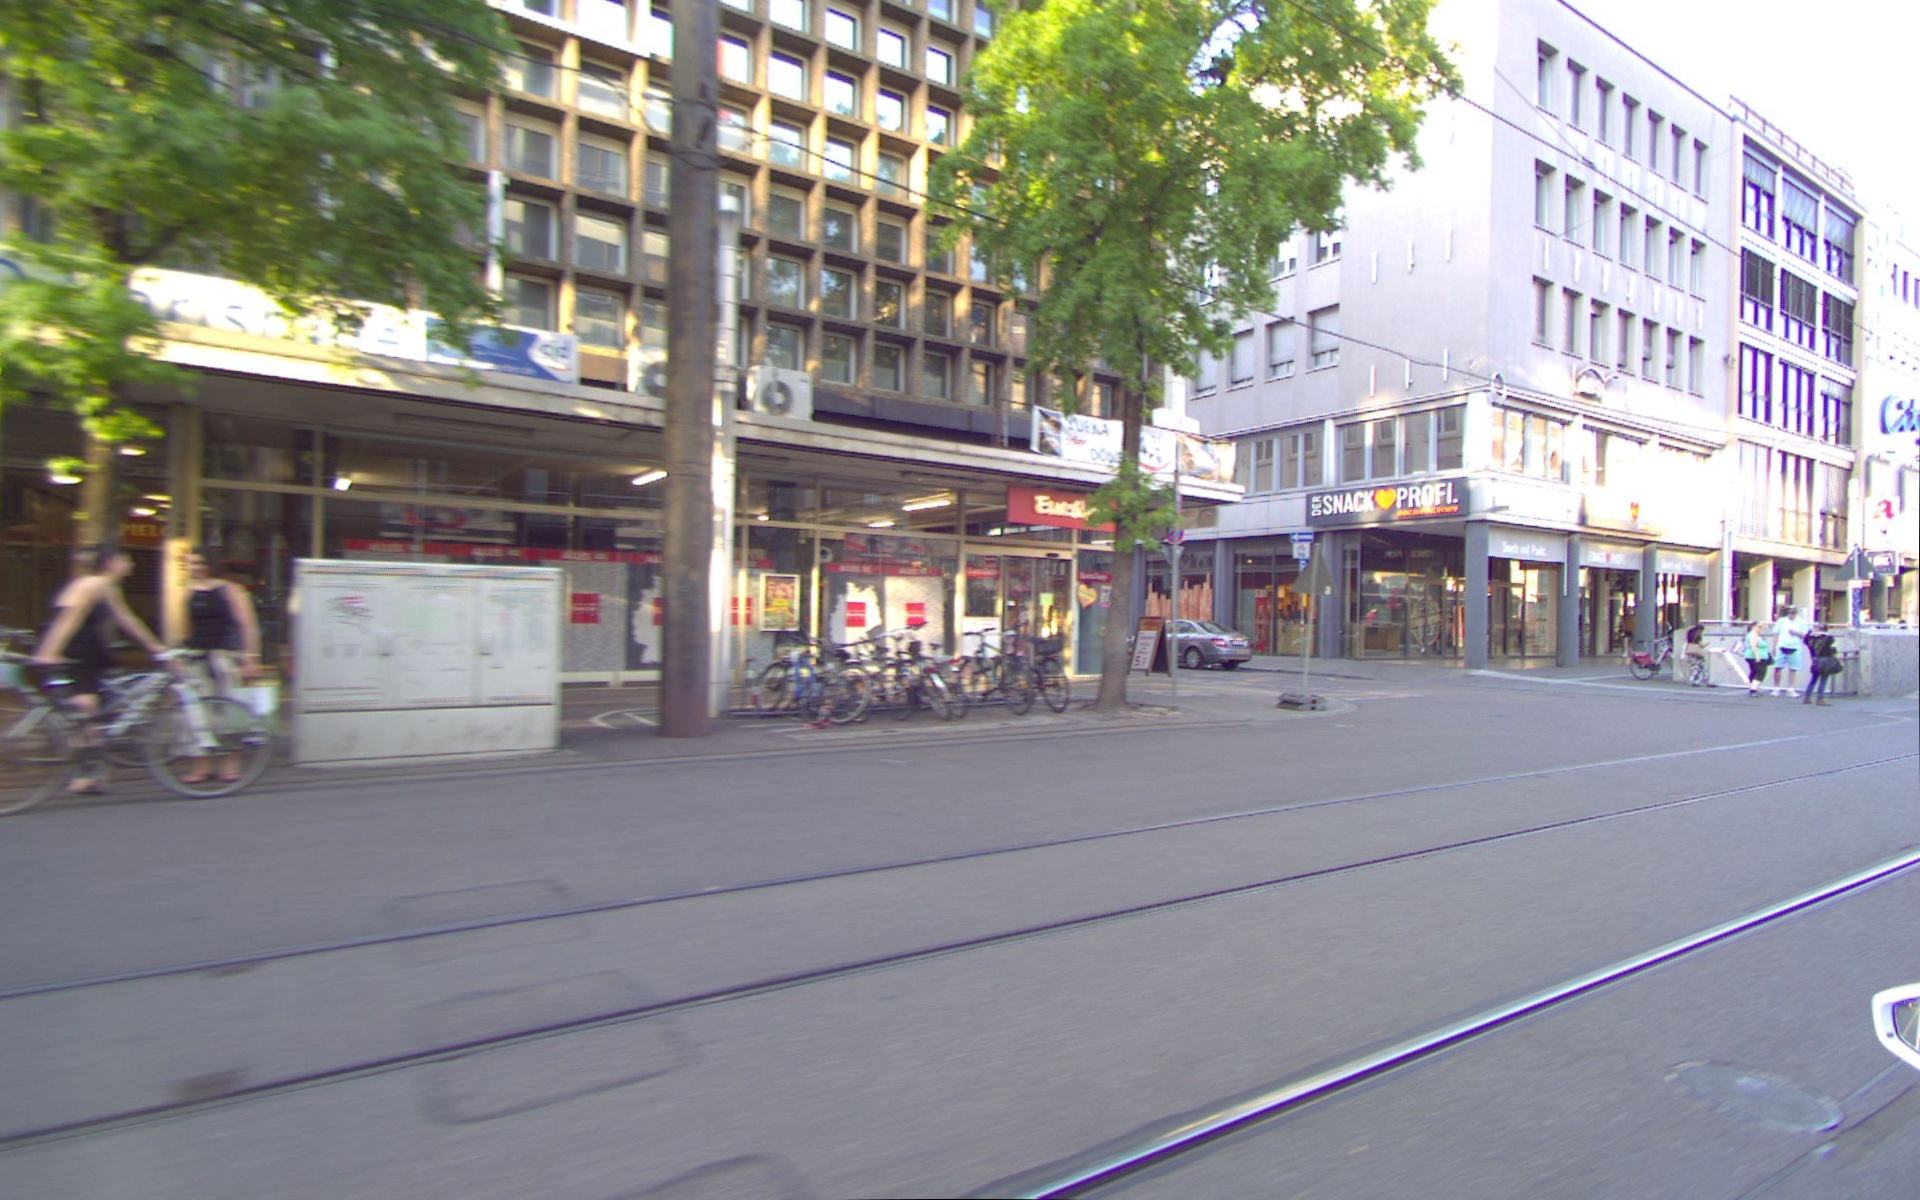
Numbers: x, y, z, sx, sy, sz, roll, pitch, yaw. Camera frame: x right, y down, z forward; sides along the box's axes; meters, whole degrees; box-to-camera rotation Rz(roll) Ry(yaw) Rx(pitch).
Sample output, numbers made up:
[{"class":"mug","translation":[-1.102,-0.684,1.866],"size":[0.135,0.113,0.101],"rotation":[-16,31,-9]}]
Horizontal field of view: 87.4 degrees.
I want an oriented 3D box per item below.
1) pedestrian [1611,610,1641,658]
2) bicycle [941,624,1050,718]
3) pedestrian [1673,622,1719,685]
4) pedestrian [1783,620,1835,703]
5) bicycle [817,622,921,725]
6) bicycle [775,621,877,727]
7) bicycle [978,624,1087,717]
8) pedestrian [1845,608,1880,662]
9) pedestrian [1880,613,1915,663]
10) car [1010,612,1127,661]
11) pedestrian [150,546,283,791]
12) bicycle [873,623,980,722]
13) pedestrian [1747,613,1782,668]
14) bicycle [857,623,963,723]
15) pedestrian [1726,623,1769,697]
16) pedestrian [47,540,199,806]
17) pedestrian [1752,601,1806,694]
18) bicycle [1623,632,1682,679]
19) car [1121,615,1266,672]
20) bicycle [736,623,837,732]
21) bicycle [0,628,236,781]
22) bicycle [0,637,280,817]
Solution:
[{"class":"pedestrian","translation":[24.961,1.277,37.629],"size":[0.702,1.748,0.709],"rotation":[2,-1,-34]},{"class":"bicycle","translation":[0.426,0.881,13.015],"size":[0.484,1.059,1.762],"rotation":[0,1,-32]},{"class":"pedestrian","translation":[17.440,1.263,23.797],"size":[0.671,1.453,0.556],"rotation":[1,-1,5]},{"class":"pedestrian","translation":[16.397,1.178,19.399],"size":[0.600,1.562,0.678],"rotation":[2,-1,-40]},{"class":"bicycle","translation":[-1.116,0.834,11.971],"size":[0.484,1.059,1.762],"rotation":[0,1,-32]},{"class":"bicycle","translation":[-1.589,0.819,11.661],"size":[0.484,1.059,1.762],"rotation":[0,1,-32]},{"class":"bicycle","translation":[0.925,0.896,13.301],"size":[0.484,1.059,1.762],"rotation":[0,1,-32]},{"class":"pedestrian","translation":[29.679,1.150,33.037],"size":[0.615,1.748,0.605],"rotation":[1,-1,14]},{"class":"pedestrian","translation":[30.335,1.224,32.514],"size":[0.615,1.609,0.605],"rotation":[1,-1,15]},{"class":"car","translation":[3.704,1.237,34.931],"size":[1.782,1.530,4.092],"rotation":[2,-1,-35]},{"class":"pedestrian","translation":[-5.442,0.485,7.380],"size":[0.525,1.722,0.603],"rotation":[1,1,-4]},{"class":"bicycle","translation":[-0.449,0.854,12.436],"size":[0.484,1.059,1.762],"rotation":[0,1,-32]},{"class":"pedestrian","translation":[25.814,1.295,32.231],"size":[0.702,1.748,0.709],"rotation":[2,-1,-34]},{"class":"bicycle","translation":[-0.651,0.848,12.306],"size":[0.484,1.059,1.762],"rotation":[0,1,-32]},{"class":"pedestrian","translation":[16.597,1.260,21.173],"size":[0.551,1.513,0.598],"rotation":[2,-1,-41]},{"class":"pedestrian","translation":[-5.657,0.476,6.817],"size":[0.525,1.722,0.603],"rotation":[1,1,-4]},{"class":"pedestrian","translation":[17.514,1.002,21.483],"size":[0.704,1.951,0.766],"rotation":[2,-1,-41]},{"class":"bicycle","translation":[17.806,1.414,25.824],"size":[1.777,1.122,0.496],"rotation":[0,0,-28]},{"class":"car","translation":[6.906,1.263,30.038],"size":[1.782,1.530,4.092],"rotation":[2,-1,-35]},{"class":"bicycle","translation":[-1.997,0.833,11.397],"size":[0.484,1.059,1.762],"rotation":[0,1,-32]},{"class":"bicycle","translation":[-6.548,0.755,7.574],"size":[1.760,1.059,0.484],"rotation":[1,1,-36]},{"class":"bicycle","translation":[-5.545,0.792,6.613],"size":[1.760,1.059,0.484],"rotation":[1,1,-36]}]
